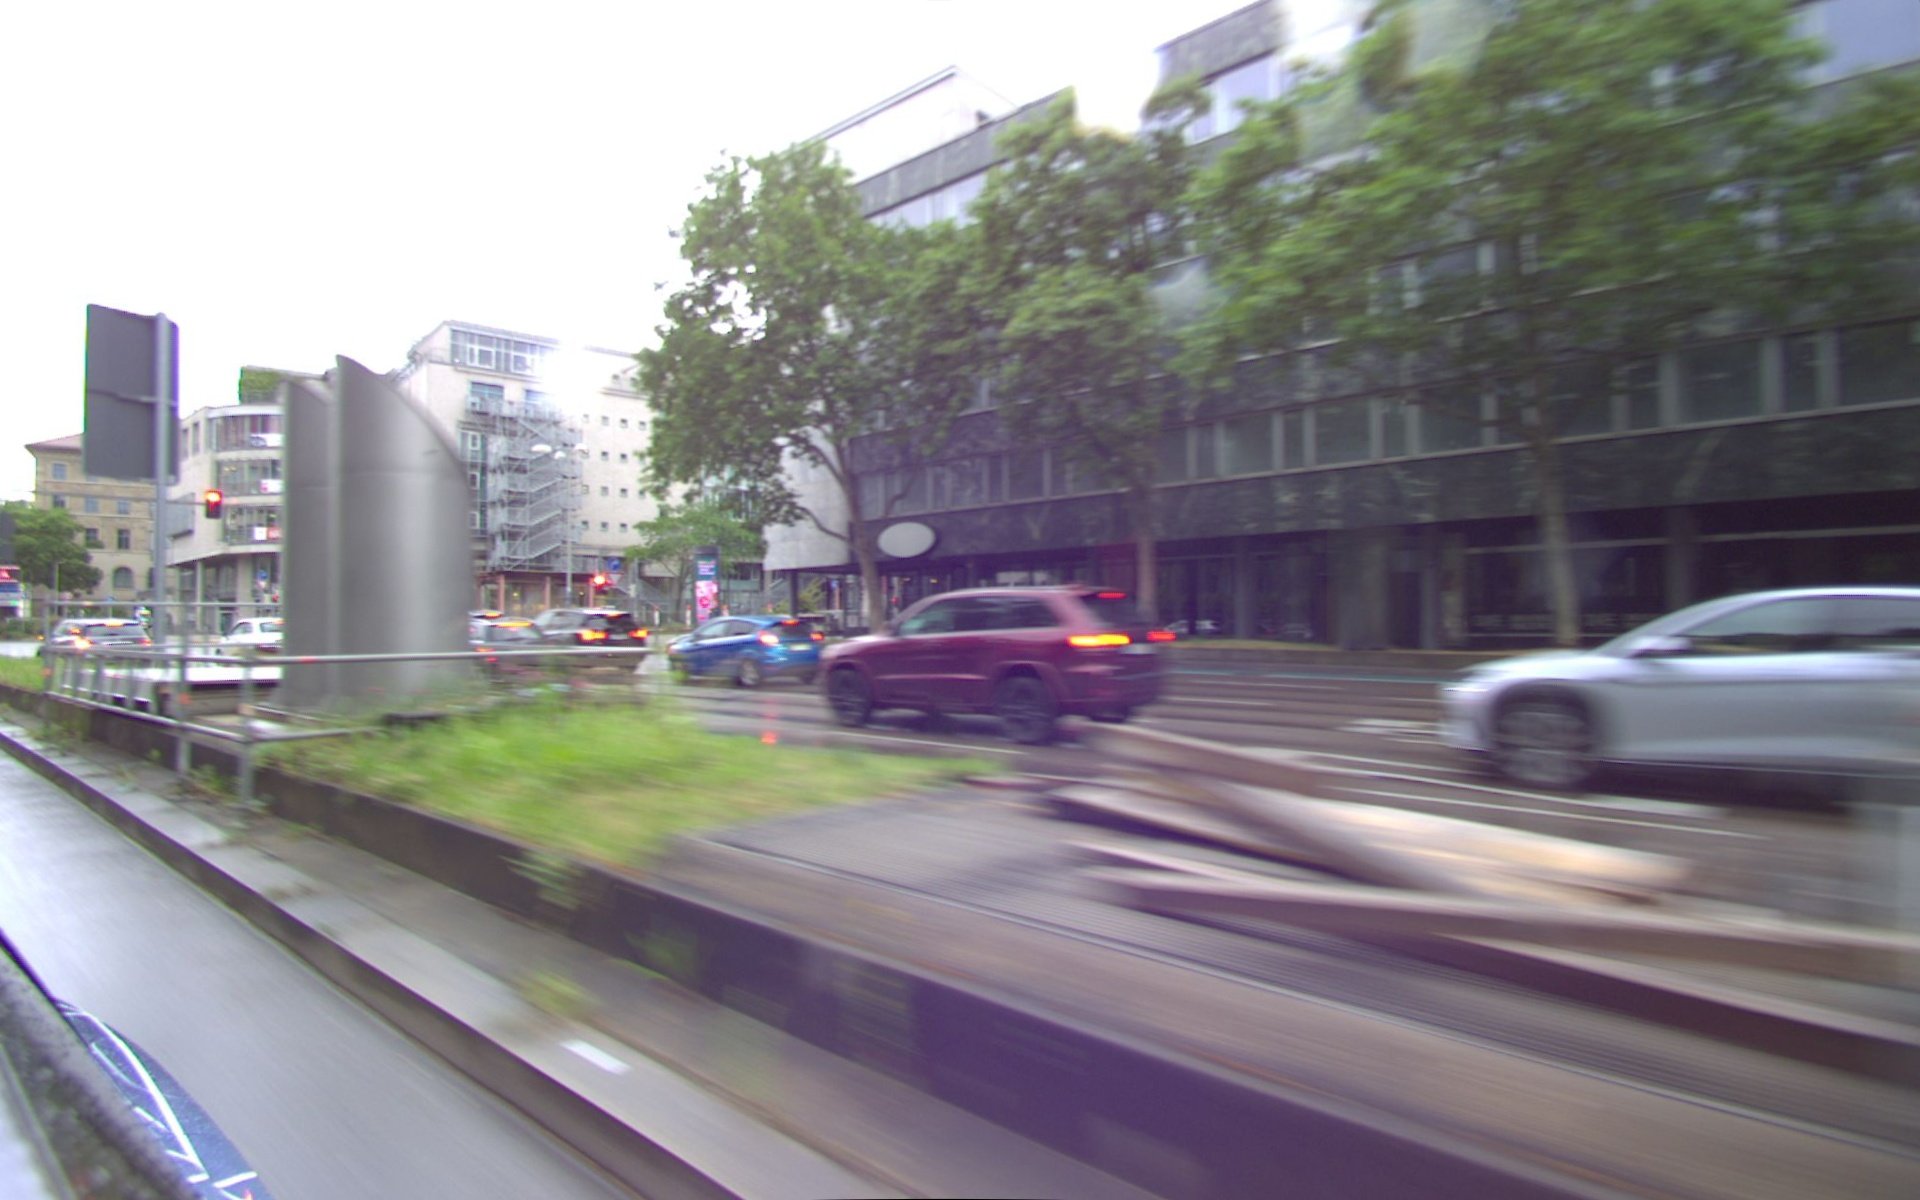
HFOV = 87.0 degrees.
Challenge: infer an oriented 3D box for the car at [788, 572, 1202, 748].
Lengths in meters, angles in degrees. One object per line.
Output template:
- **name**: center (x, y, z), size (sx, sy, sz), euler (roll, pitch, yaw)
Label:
- **car**: center (0.244, 0.663, 12.605), size (5.104, 1.780, 1.817), euler (-2, -1, 40)

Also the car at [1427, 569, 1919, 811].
- **car**: center (6.373, 0.603, 7.703), size (4.830, 1.585, 1.716), euler (-2, -1, 42)

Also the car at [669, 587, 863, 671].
- **car**: center (-4.045, 0.557, 20.832), size (3.995, 1.577, 1.736), euler (-1, 0, 38)

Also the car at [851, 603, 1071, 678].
- **car**: center (-0.054, 0.898, 21.876), size (4.583, 1.457, 1.872), euler (-3, -2, 39)

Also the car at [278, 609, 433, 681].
- **car**: center (-15.763, 1.127, 26.291), size (4.791, 1.698, 1.859), euler (-1, -1, 38)

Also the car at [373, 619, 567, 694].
- **car**: center (-10.831, 1.176, 22.217), size (4.909, 1.462, 1.826), euler (-1, -1, 38)

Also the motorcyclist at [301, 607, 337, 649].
- **motorcyclist**: center (-21.553, 0.937, 34.040), size (0.731, 1.402, 0.781), euler (-2, -1, 33)

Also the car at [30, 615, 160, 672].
- **car**: center (-24.230, 1.186, 28.312), size (4.155, 1.493, 1.827), euler (-1, -1, 35)

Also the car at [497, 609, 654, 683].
- **car**: center (-9.679, 1.103, 25.334), size (4.410, 1.678, 1.824), euler (-2, -1, 41)

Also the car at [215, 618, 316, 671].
- **car**: center (-20.792, 1.305, 30.263), size (3.429, 1.487, 1.699), euler (-2, -1, 41)
